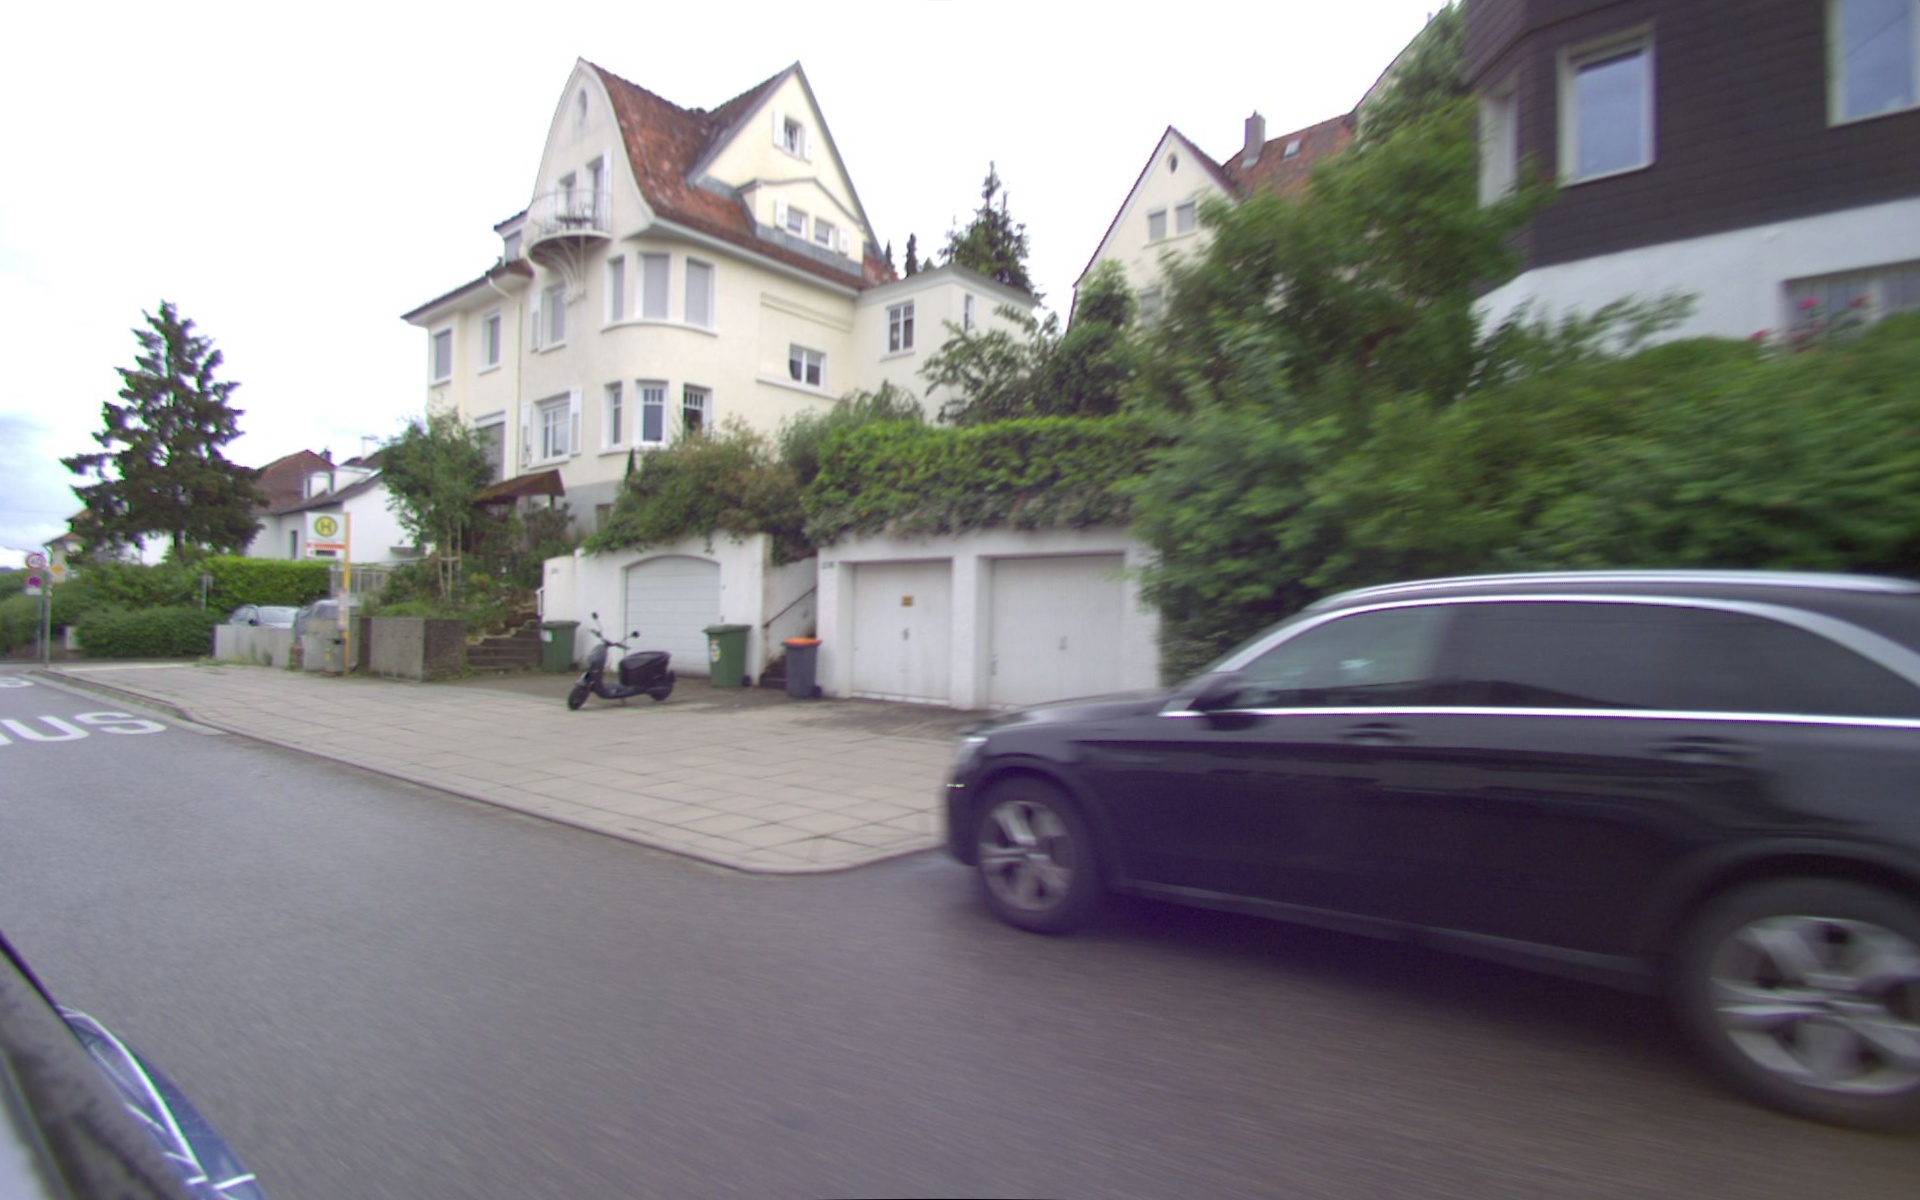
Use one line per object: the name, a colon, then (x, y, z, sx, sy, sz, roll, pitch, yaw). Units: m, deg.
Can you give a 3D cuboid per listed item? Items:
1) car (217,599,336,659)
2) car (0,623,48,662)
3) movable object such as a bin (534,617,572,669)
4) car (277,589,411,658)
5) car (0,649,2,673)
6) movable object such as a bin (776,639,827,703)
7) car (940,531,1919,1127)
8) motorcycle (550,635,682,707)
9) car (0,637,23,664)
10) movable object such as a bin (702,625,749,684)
car: (-20.291, 0.887, 29.998, 3.993, 1.630, 1.749, -3, -3, 37)
car: (-51.569, 2.357, 55.234, 4.769, 1.972, 1.974, -4, -2, 39)
movable object such as a bin: (-8.396, 0.886, 20.874, 0.513, 1.066, 0.567, -3, -3, 41)
car: (-16.634, 0.680, 27.279, 3.993, 1.709, 1.749, -3, -3, 37)
car: (-62.773, 3.980, 64.979, 3.436, 1.502, 1.573, -4, -2, 42)
movable object such as a bin: (-2.466, 1.095, 15.757, 0.512, 0.961, 0.568, -3, -3, 36)
car: (2.185, 0.654, 4.344, 4.373, 1.635, 1.875, -1, -1, 39)
motorcycle: (-5.028, 1.008, 14.885, 0.603, 0.910, 1.776, -1, 1, 40)
car: (-56.224, 2.988, 59.044, 4.397, 1.502, 1.675, -4, -2, 38)
movable object such as a bin: (-3.960, 0.918, 17.091, 0.512, 0.961, 0.568, -3, -3, 36)
